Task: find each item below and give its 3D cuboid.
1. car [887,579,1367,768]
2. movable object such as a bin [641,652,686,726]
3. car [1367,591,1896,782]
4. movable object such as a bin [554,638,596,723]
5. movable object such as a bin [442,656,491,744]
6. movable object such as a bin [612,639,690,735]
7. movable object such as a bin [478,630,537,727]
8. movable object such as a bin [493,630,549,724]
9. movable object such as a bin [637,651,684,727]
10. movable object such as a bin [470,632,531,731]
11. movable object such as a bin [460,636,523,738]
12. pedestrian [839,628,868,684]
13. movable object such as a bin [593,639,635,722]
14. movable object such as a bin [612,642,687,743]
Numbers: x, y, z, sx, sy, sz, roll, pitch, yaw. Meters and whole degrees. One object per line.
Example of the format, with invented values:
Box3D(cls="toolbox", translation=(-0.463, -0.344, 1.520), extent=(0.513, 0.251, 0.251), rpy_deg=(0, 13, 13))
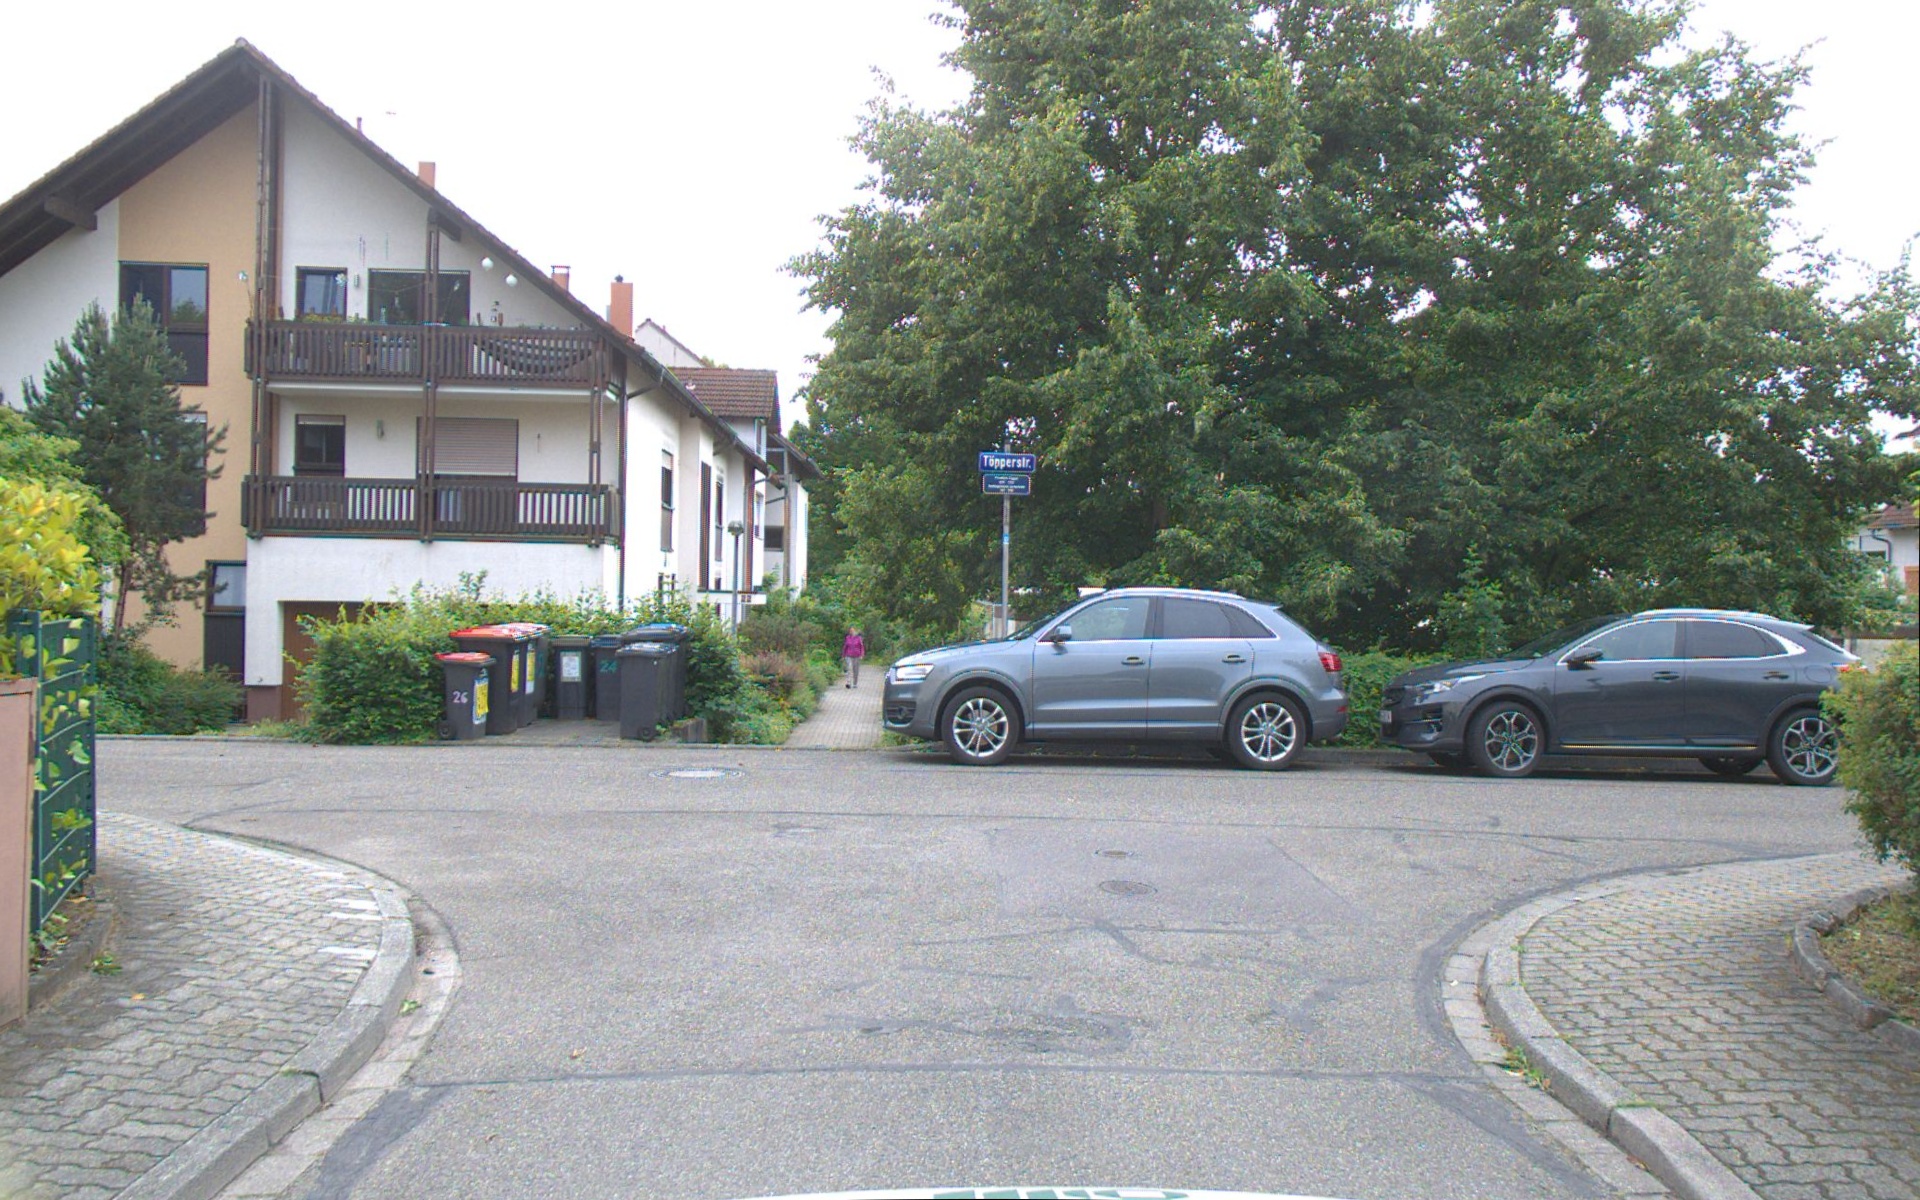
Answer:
Box3D(cls="car", translation=(1.426, 0.664, 15.143), extent=(4.152, 1.558, 1.746), rpy_deg=(1, -2, -3))
Box3D(cls="movable object such as a bin", translation=(-3.350, 1.002, 18.701), extent=(0.450, 0.811, 0.379), rpy_deg=(2, 0, -5))
Box3D(cls="car", translation=(5.931, 0.756, 14.984), extent=(4.094, 1.558, 1.748), rpy_deg=(1, -2, 2))
Box3D(cls="movable object such as a bin", translation=(-4.303, 0.892, 18.490), extent=(0.378, 0.917, 0.379), rpy_deg=(2, 0, -5))
Box3D(cls="movable object such as a bin", translation=(-4.977, 1.000, 16.686), extent=(0.378, 0.851, 0.379), rpy_deg=(2, 0, -5))
Box3D(cls="movable object such as a bin", translation=(-3.301, 0.928, 17.724), extent=(0.719, 0.970, 0.584), rpy_deg=(2, 0, -3))
Box3D(cls="movable object such as a bin", translation=(-4.879, 0.845, 17.845), extent=(0.526, 1.011, 0.337), rpy_deg=(2, 0, -5))
Box3D(cls="movable object such as a bin", translation=(-4.870, 0.851, 18.358), extent=(0.526, 1.011, 0.337), rpy_deg=(2, 0, -5))
Box3D(cls="movable object such as a bin", translation=(-3.309, 0.979, 18.287), extent=(0.450, 0.811, 0.379), rpy_deg=(2, 0, -5))
Box3D(cls="movable object such as a bin", translation=(-4.856, 0.856, 17.486), extent=(0.526, 1.011, 0.337), rpy_deg=(2, 0, -5))
Box3D(cls="movable object such as a bin", translation=(-4.844, 0.896, 17.111), extent=(0.526, 1.011, 0.379), rpy_deg=(2, 0, -5))
Box3D(cls="pedestrian", translation=(-2.959, 1.554, 45.913), extent=(0.799, 1.544, 0.438), rpy_deg=(1, -1, -5))
Box3D(cls="movable object such as a bin", translation=(-3.872, 0.899, 18.521), extent=(0.378, 0.905, 0.379), rpy_deg=(2, 0, -5))
Box3D(cls="movable object such as a bin", translation=(-3.166, 0.937, 16.909), extent=(0.625, 0.970, 0.722), rpy_deg=(2, 0, -3))
